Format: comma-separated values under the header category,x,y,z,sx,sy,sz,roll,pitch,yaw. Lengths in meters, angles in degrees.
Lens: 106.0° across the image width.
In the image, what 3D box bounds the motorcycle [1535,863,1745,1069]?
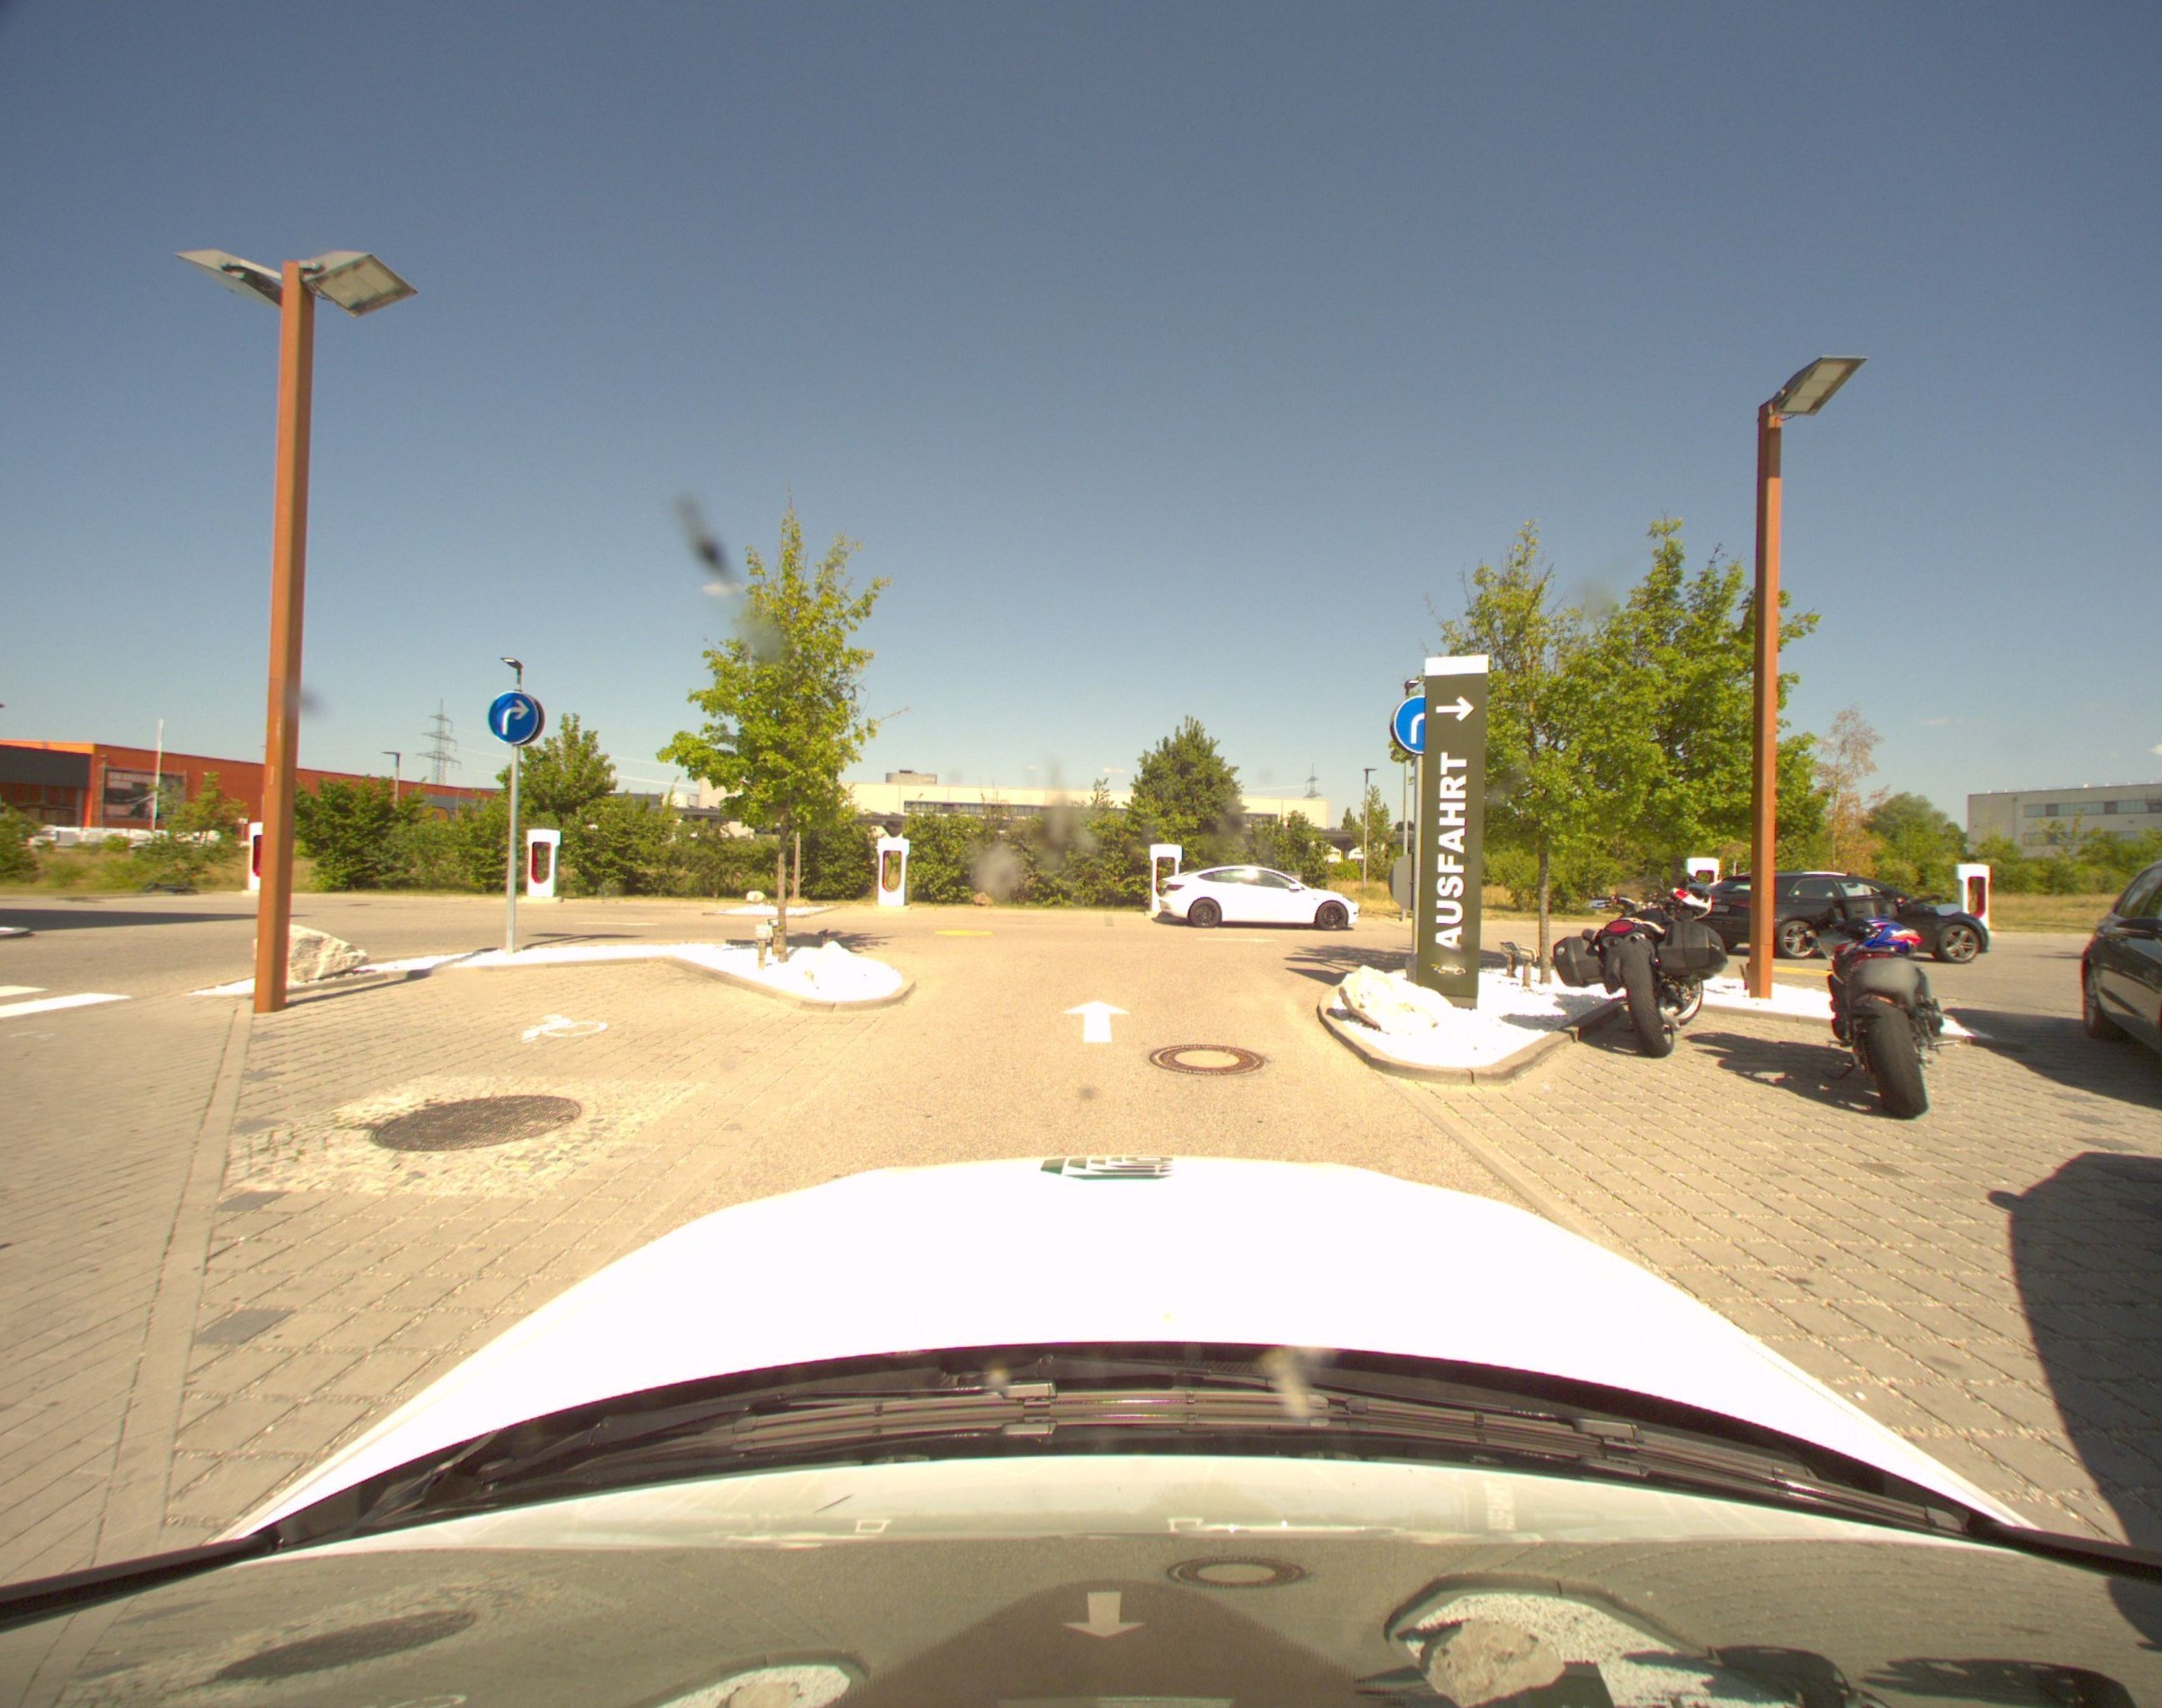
category,x,y,z,sx,sy,sz,roll,pitch,yaw
motorcycle,4.474,0.734,6.429,1.058,1.250,2.266,2,2,42

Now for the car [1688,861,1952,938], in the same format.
category,x,y,z,sx,sy,sz,roll,pitch,yaw
car,17.159,1.019,19.080,4.458,1.600,1.871,1,0,1

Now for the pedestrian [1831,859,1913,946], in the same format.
category,x,y,z,sx,sy,sz,roll,pitch,yaw
pedestrian,17.087,1.027,17.622,0.732,1.800,1.035,1,1,-2

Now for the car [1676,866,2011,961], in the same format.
category,x,y,z,sx,sy,sz,roll,pitch,yaw
car,12.797,0.976,13.852,4.188,1.441,1.697,1,-2,-1

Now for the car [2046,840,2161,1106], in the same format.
category,x,y,z,sx,sy,sz,roll,pitch,yaw
car,8.377,0.710,5.563,1.872,1.537,4.215,1,0,44

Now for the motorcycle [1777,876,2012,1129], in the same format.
category,x,y,z,sx,sy,sz,roll,pitch,yaw
motorcycle,5.148,0.799,5.313,0.810,1.231,2.155,2,1,38

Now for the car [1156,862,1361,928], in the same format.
category,x,y,z,sx,sy,sz,roll,pitch,yaw
car,4.035,0.930,19.076,4.419,1.377,1.822,1,0,0
